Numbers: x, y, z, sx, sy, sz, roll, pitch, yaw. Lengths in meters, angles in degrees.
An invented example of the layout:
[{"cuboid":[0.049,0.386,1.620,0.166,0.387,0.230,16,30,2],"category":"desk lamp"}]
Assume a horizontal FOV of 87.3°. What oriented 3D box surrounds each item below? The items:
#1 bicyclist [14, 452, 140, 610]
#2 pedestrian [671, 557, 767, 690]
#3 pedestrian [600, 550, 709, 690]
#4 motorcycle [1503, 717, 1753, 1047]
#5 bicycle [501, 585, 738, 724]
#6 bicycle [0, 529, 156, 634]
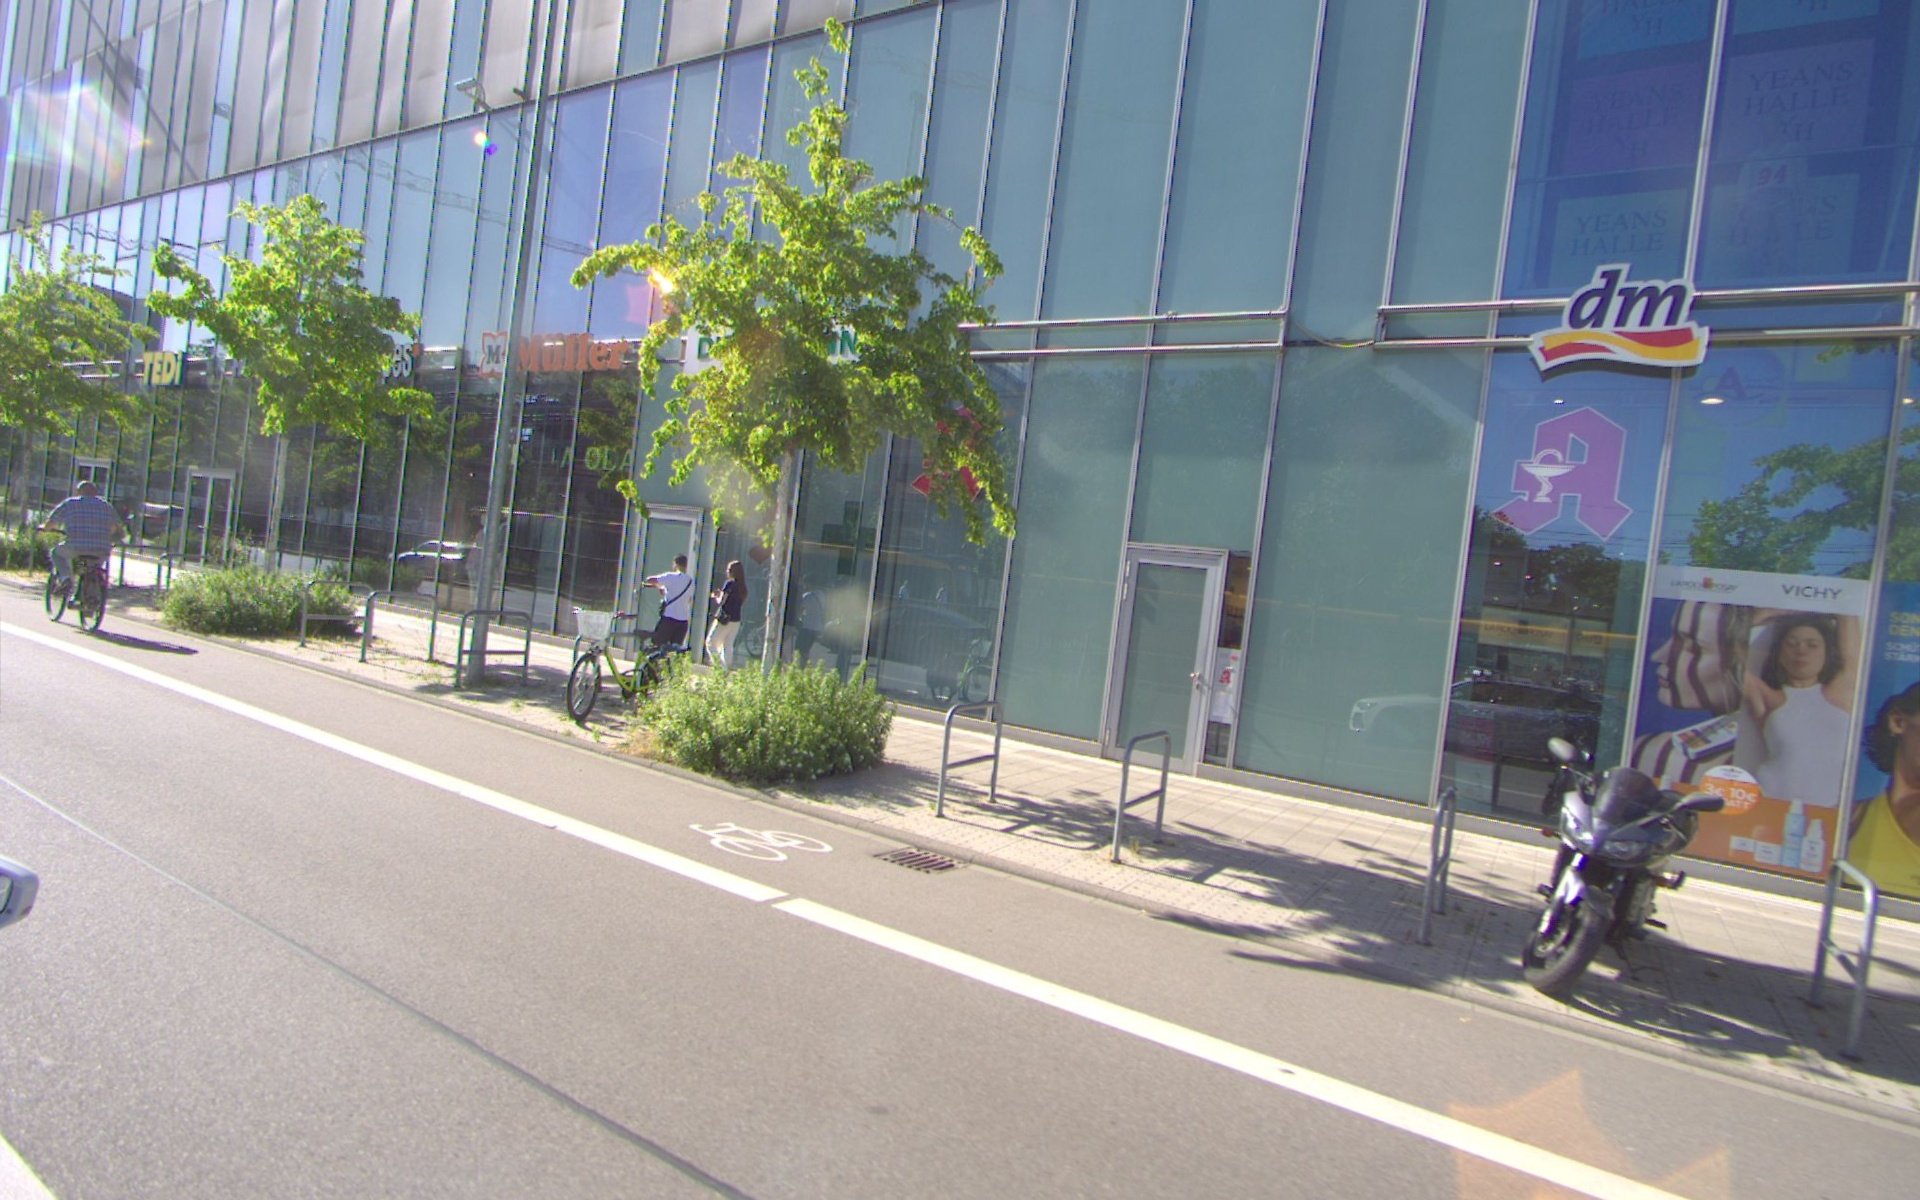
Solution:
[{"cuboid":[-10.664,-0.823,12.154,0.980,1.758,0.726,7,1,28],"category":"bicyclist"},{"cuboid":[-3.295,0.311,13.768,0.884,1.680,0.707,7,3,28],"category":"pedestrian"},{"cuboid":[-3.956,0.259,13.061,0.884,1.679,0.822,7,2,28],"category":"pedestrian"},{"cuboid":[3.885,1.454,5.846,0.889,1.341,2.188,7,1,36],"category":"motorcycle"},{"cuboid":[-3.485,0.572,10.476,0.936,1.221,2.084,7,1,38],"category":"bicycle"},{"cuboid":[-10.841,-0.240,12.248,2.293,0.995,0.730,7,0,28],"category":"bicycle"}]
